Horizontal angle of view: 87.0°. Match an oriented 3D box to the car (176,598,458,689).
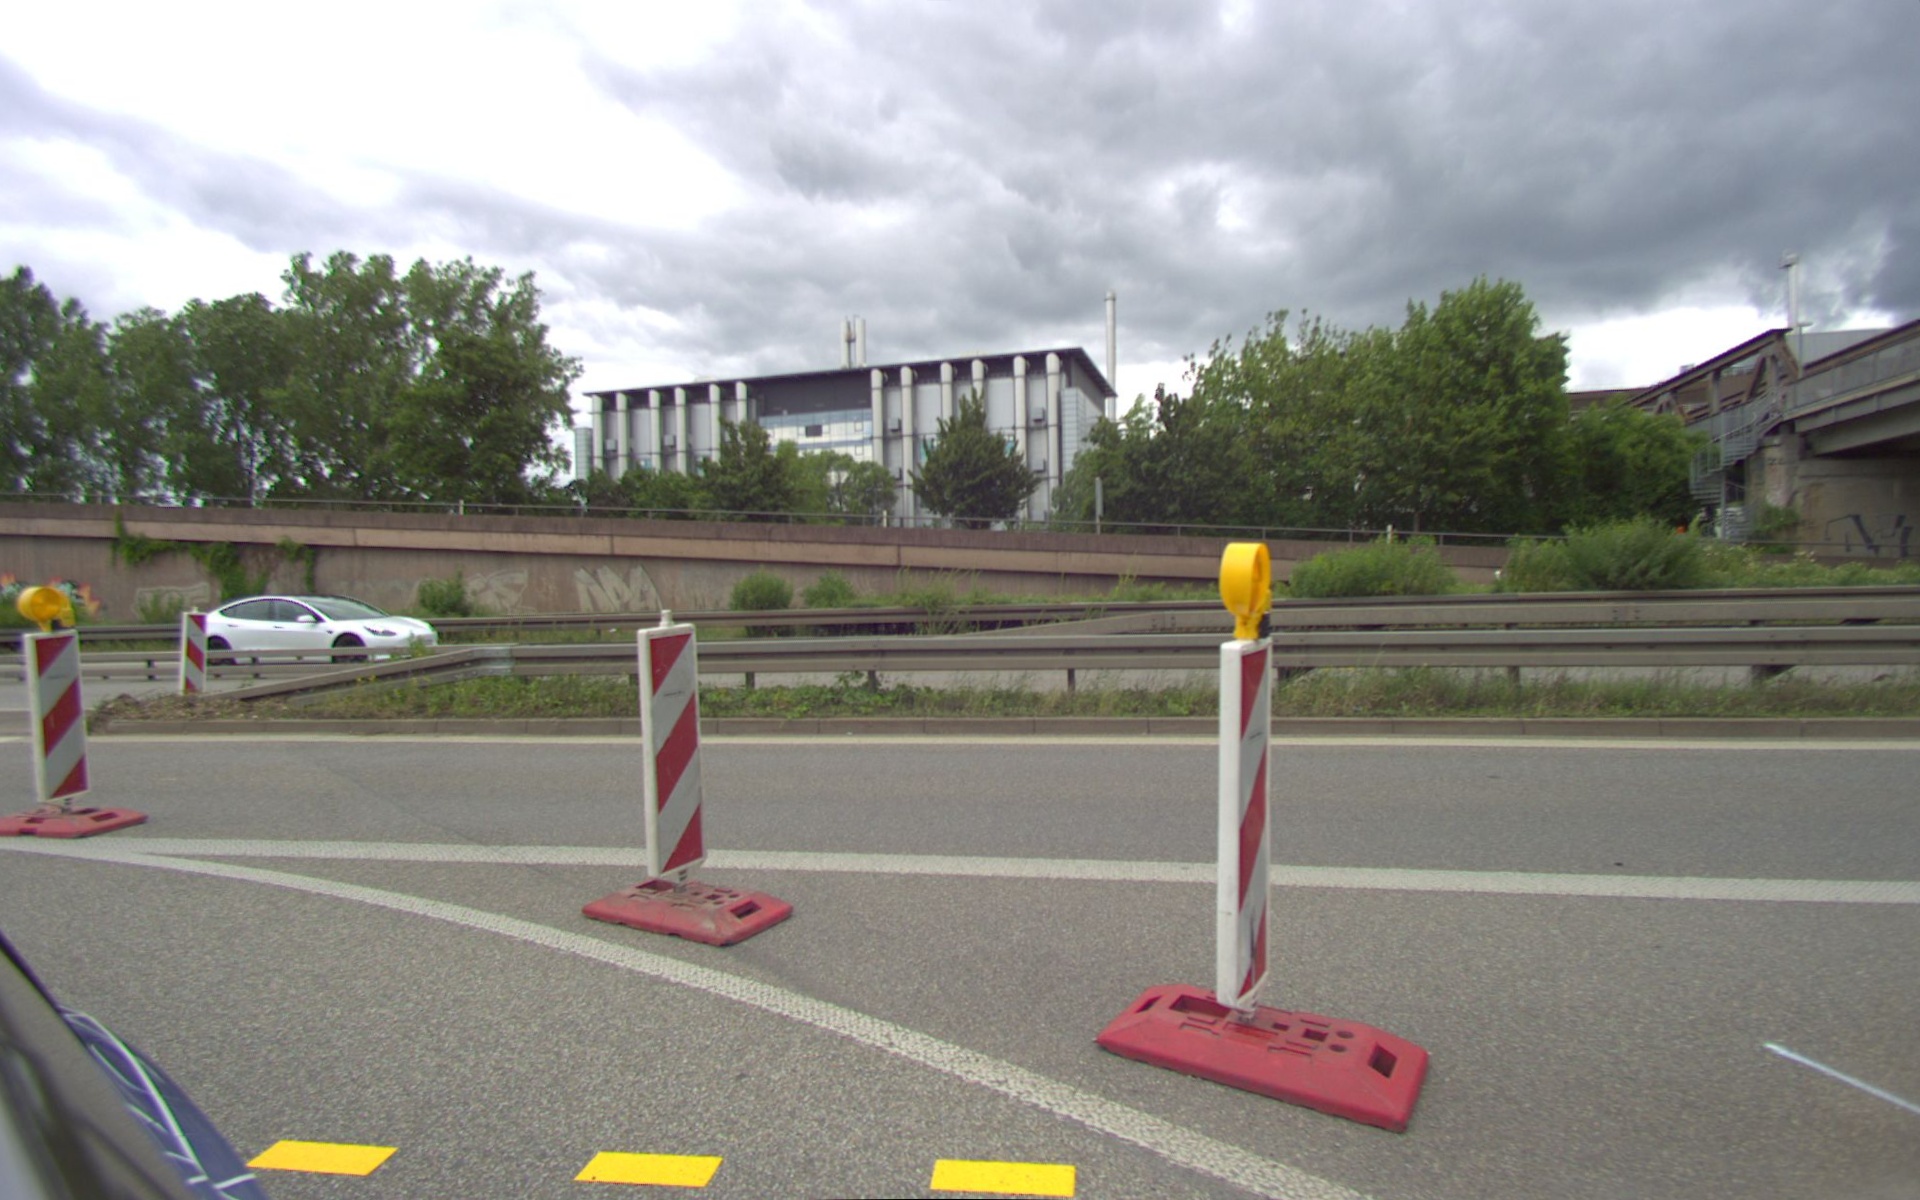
[{"bbox_3d":[-12.350,0.798,19.570,4.411,1.553,1.994,-1,3,11],"label":"car"}]
